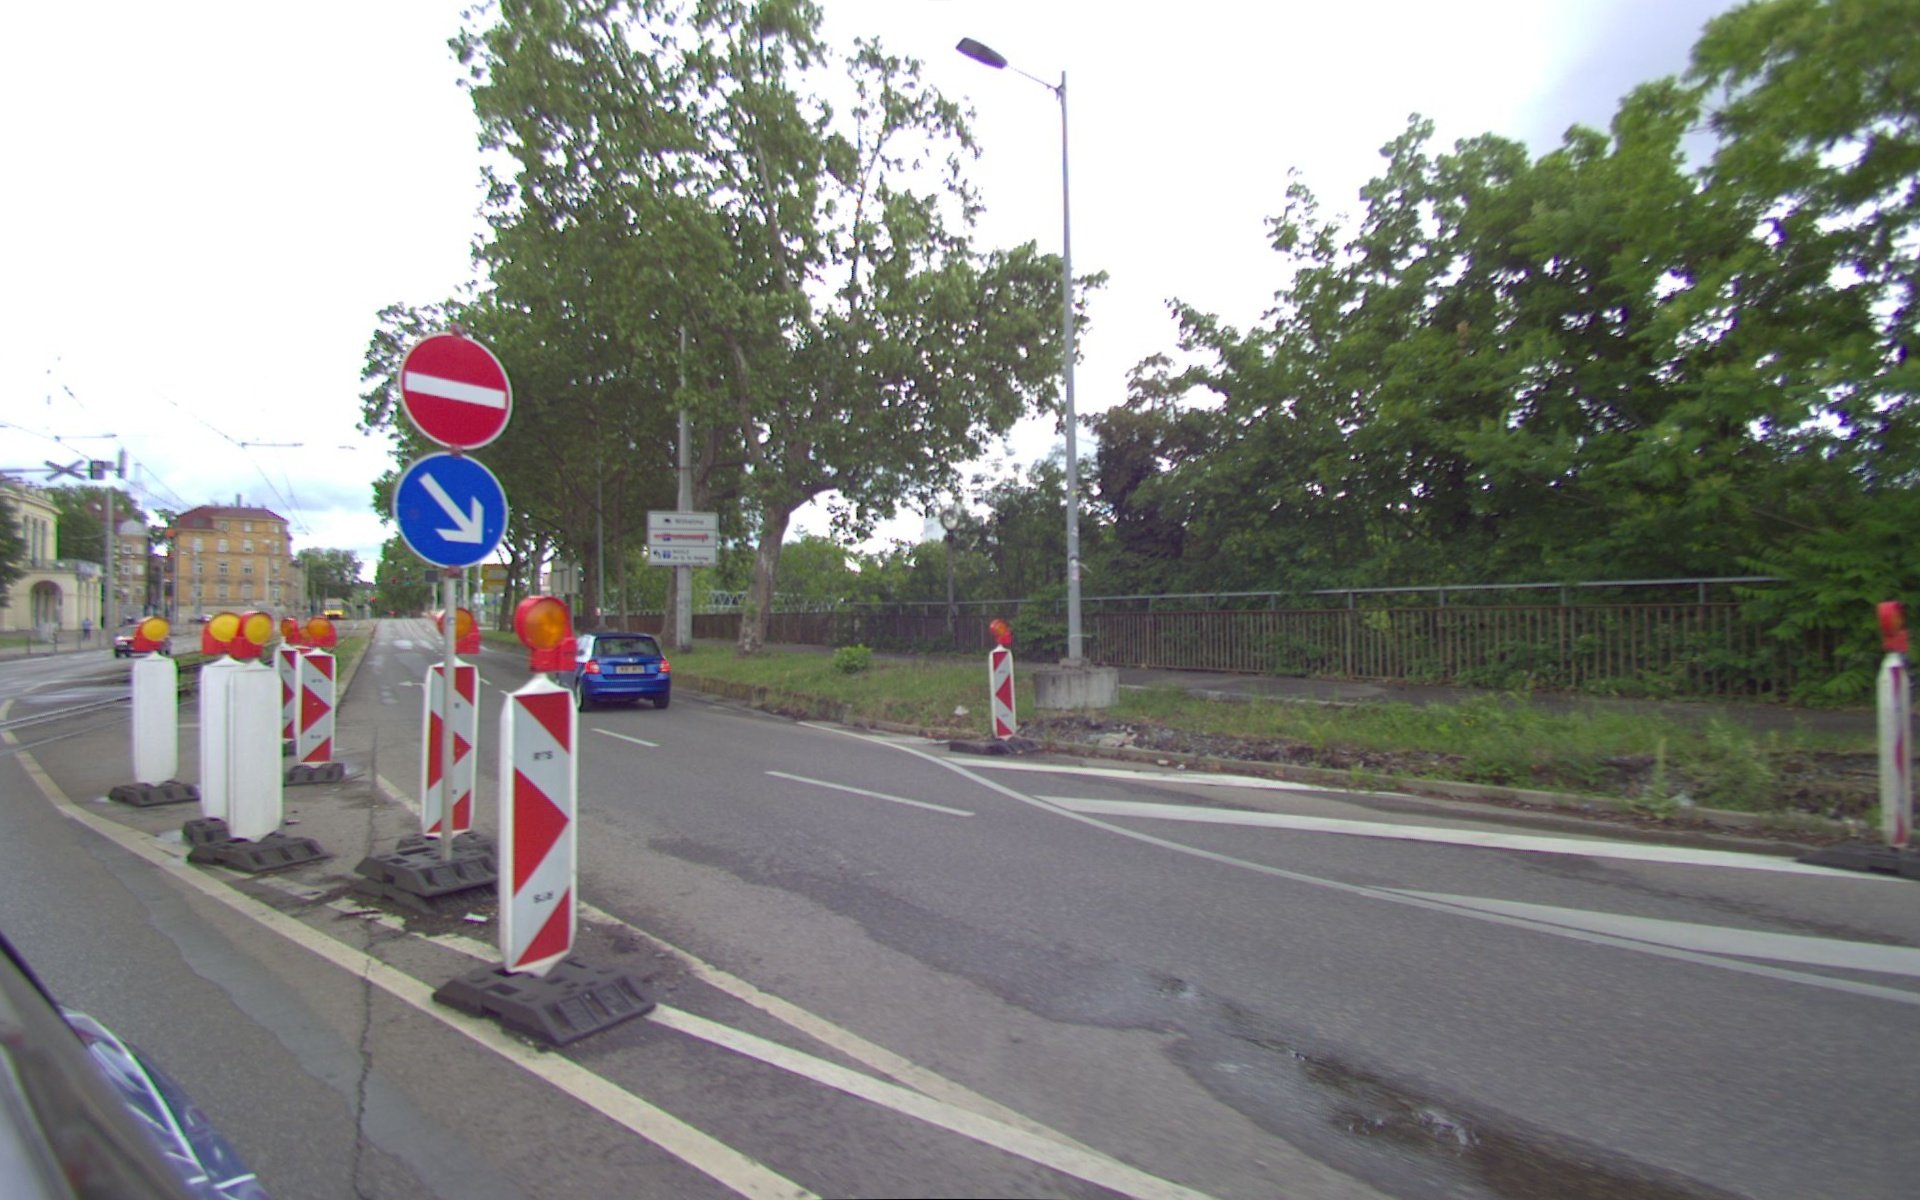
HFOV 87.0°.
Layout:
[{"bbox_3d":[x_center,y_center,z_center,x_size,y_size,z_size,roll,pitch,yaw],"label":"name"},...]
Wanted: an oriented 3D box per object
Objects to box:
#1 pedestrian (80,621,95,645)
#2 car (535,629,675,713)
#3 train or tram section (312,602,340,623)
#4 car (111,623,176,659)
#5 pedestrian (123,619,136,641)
[{"bbox_3d":[-64.638,2.413,74.948,0.661,1.781,0.939,1,-1,-31],"label":"pedestrian"},{"bbox_3d":[-7.043,1.343,19.838,1.672,1.473,3.923,1,-3,-33],"label":"car"},{"bbox_3d":[-106.505,2.020,170.098,3.678,3.391,17.609,2,-1,-31],"label":"train or tram section"},{"bbox_3d":[-35.923,1.760,44.612,1.654,1.453,4.131,-2,0,-31],"label":"car"},{"bbox_3d":[-68.413,2.481,83.377,0.661,1.781,0.939,1,-1,-31],"label":"pedestrian"}]
